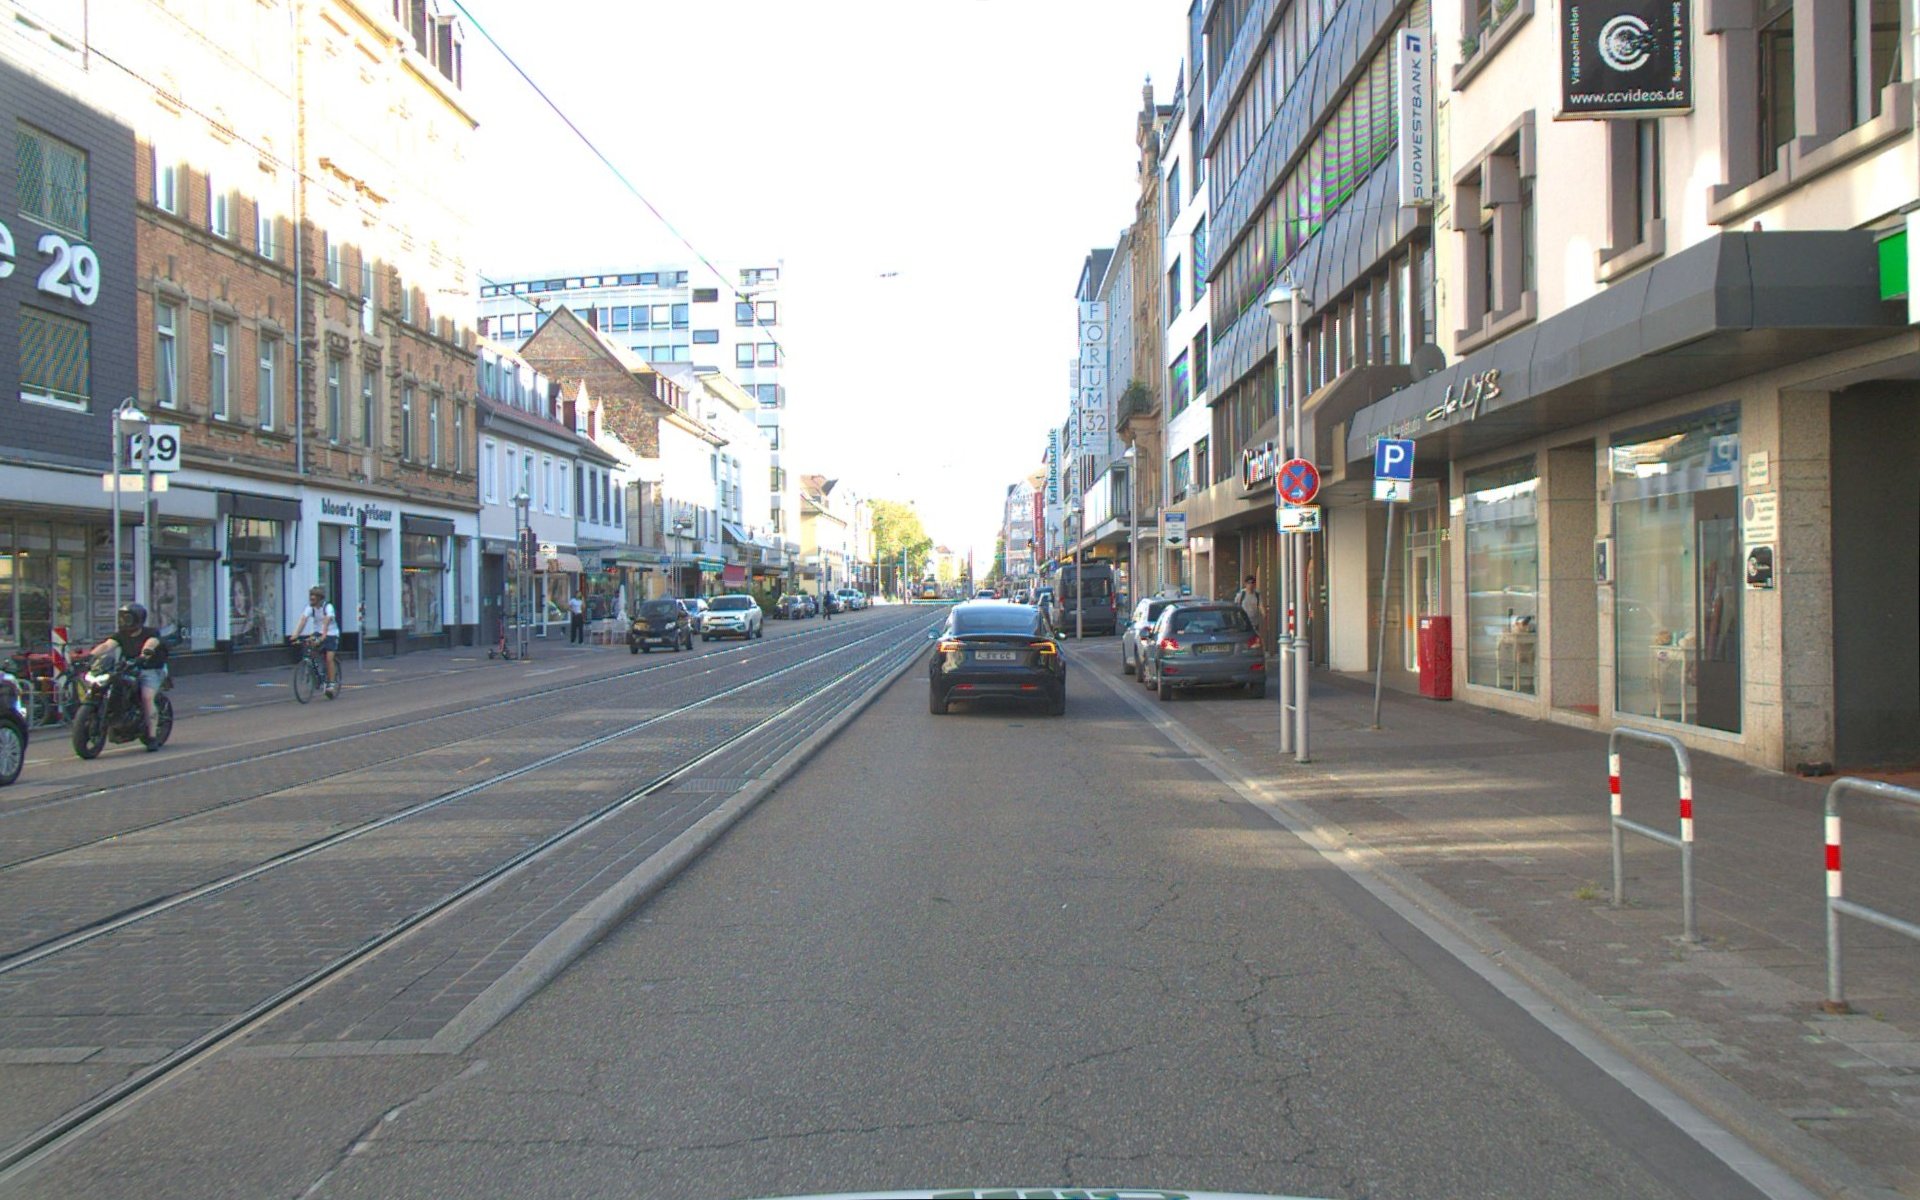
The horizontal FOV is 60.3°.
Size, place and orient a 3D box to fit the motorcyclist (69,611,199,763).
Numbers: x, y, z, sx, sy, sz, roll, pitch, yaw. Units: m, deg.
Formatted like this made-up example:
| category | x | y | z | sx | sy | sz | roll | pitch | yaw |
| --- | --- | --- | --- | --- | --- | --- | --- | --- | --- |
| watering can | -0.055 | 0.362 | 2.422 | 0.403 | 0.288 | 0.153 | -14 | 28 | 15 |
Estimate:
| category | x | y | z | sx | sy | sz | roll | pitch | yaw |
| --- | --- | --- | --- | --- | --- | --- | --- | --- | --- |
| motorcyclist | -9.131 | 0.941 | 18.332 | 0.786 | 1.585 | 1.146 | -2 | 0 | 2 |

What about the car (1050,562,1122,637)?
| category | x | y | z | sx | sy | sz | roll | pitch | yaw |
| --- | --- | --- | --- | --- | --- | --- | --- | --- | --- |
| car | 4.501 | -0.044 | 59.889 | 2.127 | 2.504 | 5.362 | -3 | 1 | 0 |

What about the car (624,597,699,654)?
| category | x | y | z | sx | sy | sz | roll | pitch | yaw |
| --- | --- | --- | --- | --- | --- | --- | --- | --- | --- |
| car | -8.764 | 0.734 | 48.772 | 1.614 | 1.593 | 2.830 | -1 | 0 | 1 |

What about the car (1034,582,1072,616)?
| category | x | y | z | sx | sy | sz | roll | pitch | yaw |
| --- | --- | --- | --- | --- | --- | --- | --- | --- | --- |
| car | 4.487 | -0.073 | 80.312 | 1.715 | 1.525 | 3.754 | -2 | 1 | 1 |

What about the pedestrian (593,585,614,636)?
| category | x | y | z | sx | sy | sz | roll | pitch | yaw |
| --- | --- | --- | --- | --- | --- | --- | --- | --- | --- |
| pedestrian | -13.072 | 0.391 | 60.707 | 0.643 | 1.855 | 0.642 | -1 | 0 | -5 |

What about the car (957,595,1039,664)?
| category | x | y | z | sx | sy | sz | roll | pitch | yaw |
| --- | --- | --- | --- | --- | --- | --- | --- | --- | --- |
| car | 0.853 | 0.627 | 37.426 | 1.725 | 1.443 | 4.355 | -1 | 0 | 1 |

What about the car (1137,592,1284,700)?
| category | x | y | z | sx | sy | sz | roll | pitch | yaw |
| --- | --- | --- | --- | --- | --- | --- | --- | --- | --- |
| car | 3.850 | 0.657 | 26.062 | 1.809 | 1.487 | 4.304 | -2 | 0 | 3 |

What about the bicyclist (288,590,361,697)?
| category | x | y | z | sx | sy | sz | roll | pitch | yaw |
| --- | --- | --- | --- | --- | --- | --- | --- | --- | --- |
| bicyclist | -10.731 | 0.723 | 27.955 | 0.735 | 1.759 | 1.146 | -1 | 0 | 2 |

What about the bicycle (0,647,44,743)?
| category | x | y | z | sx | sy | sz | roll | pitch | yaw |
| --- | --- | --- | --- | --- | --- | --- | --- | --- | --- |
| bicycle | -12.754 | 1.202 | 20.896 | 1.896 | 1.172 | 0.773 | -1 | 0 | -4 |

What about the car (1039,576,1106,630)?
| category | x | y | z | sx | sy | sz | roll | pitch | yaw |
| --- | --- | --- | --- | --- | --- | --- | --- | --- | --- |
| car | 4.478 | 0.086 | 66.434 | 2.115 | 1.959 | 4.616 | -4 | 1 | -2 |

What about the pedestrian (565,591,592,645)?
| category | x | y | z | sx | sy | sz | roll | pitch | yaw |
| --- | --- | --- | --- | --- | --- | --- | --- | --- | --- |
| pedestrian | -12.898 | 0.592 | 55.893 | 0.600 | 1.806 | 0.719 | -1 | 0 | 14 |

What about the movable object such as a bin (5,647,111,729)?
| category | x | y | z | sx | sy | sz | roll | pitch | yaw |
| --- | --- | --- | --- | --- | --- | --- | --- | --- | --- |
| movable object such as a bin | -12.590 | 1.223 | 23.112 | 1.076 | 1.090 | 0.735 | 0 | 0 | 1 |

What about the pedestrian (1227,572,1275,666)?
| category | x | y | z | sx | sy | sz | roll | pitch | yaw |
| --- | --- | --- | --- | --- | --- | --- | --- | --- | --- |
| pedestrian | 5.690 | 0.359 | 32.368 | 0.763 | 1.782 | 1.032 | -1 | 0 | 2 |

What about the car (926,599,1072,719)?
| category | x | y | z | sx | sy | sz | roll | pitch | yaw |
| --- | --- | --- | --- | --- | --- | --- | --- | --- | --- |
| car | 0.551 | 0.744 | 23.107 | 1.831 | 1.452 | 4.365 | -1 | 1 | 1 |

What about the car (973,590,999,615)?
| category | x | y | z | sx | sy | sz | roll | pitch | yaw |
| --- | --- | --- | --- | --- | --- | --- | --- | --- | --- |
| car | 2.130 | 0.161 | 132.829 | 2.042 | 1.903 | 3.754 | -1 | 1 | 1 |

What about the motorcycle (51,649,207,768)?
| category | x | y | z | sx | sy | sz | roll | pitch | yaw |
| --- | --- | --- | --- | --- | --- | --- | --- | --- | --- |
| motorcycle | -9.074 | 1.155 | 18.155 | 0.558 | 1.139 | 2.117 | -2 | 0 | 1 |

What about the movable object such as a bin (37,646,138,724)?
| category | x | y | z | sx | sy | sz | roll | pitch | yaw |
| --- | --- | --- | --- | --- | --- | --- | --- | --- | --- |
| movable object such as a bin | -12.564 | 1.218 | 23.838 | 1.076 | 1.082 | 0.699 | 0 | 0 | 1 |

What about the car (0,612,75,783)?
| category | x | y | z | sx | sy | sz | roll | pitch | yaw |
| --- | --- | --- | --- | --- | --- | --- | --- | --- | --- |
| car | -9.268 | 0.924 | 13.521 | 1.678 | 1.471 | 4.140 | -3 | 1 | 2 |

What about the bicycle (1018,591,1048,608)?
| category | x | y | z | sx | sy | sz | roll | pitch | yaw |
| --- | --- | --- | --- | --- | --- | --- | --- | --- | --- |
| bicycle | 5.244 | -0.039 | 118.525 | 2.115 | 1.116 | 0.686 | -1 | 0 | -2 |

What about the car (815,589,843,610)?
| category | x | y | z | sx | sy | sz | roll | pitch | yaw |
| --- | --- | --- | --- | --- | --- | --- | --- | --- | --- |
| car | -10.465 | -0.060 | 131.989 | 1.682 | 1.599 | 3.851 | -1 | 0 | 3 |

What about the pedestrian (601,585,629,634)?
| category | x | y | z | sx | sy | sz | roll | pitch | yaw |
| --- | --- | --- | --- | --- | --- | --- | --- | --- | --- |
| pedestrian | -12.823 | 0.360 | 61.441 | 0.868 | 1.806 | 0.688 | -1 | 0 | -1 |

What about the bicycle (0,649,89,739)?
| category | x | y | z | sx | sy | sz | roll | pitch | yaw |
| --- | --- | --- | --- | --- | --- | --- | --- | --- | --- |
| bicycle | -12.635 | 1.240 | 21.757 | 1.896 | 1.130 | 0.773 | -1 | 0 | -4 |

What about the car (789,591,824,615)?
| category | x | y | z | sx | sy | sz | roll | pitch | yaw |
| --- | --- | --- | --- | --- | --- | --- | --- | --- | --- |
| car | -10.639 | 0.201 | 114.754 | 1.732 | 1.534 | 3.863 | -1 | 0 | 4 |

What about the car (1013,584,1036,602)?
| category | x | y | z | sx | sy | sz | roll | pitch | yaw |
| --- | --- | --- | --- | --- | --- | --- | --- | --- | --- |
| car | 5.704 | -0.632 | 147.345 | 1.952 | 1.570 | 4.000 | -1 | 0 | 1 |

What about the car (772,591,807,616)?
| category | x | y | z | sx | sy | sz | roll | pitch | yaw |
| --- | --- | --- | --- | --- | --- | --- | --- | --- | --- |
| car | -11.141 | 0.202 | 108.437 | 1.733 | 1.534 | 3.865 | -1 | 0 | 2 |

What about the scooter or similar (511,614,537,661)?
| category | x | y | z | sx | sy | sz | roll | pitch | yaw |
| --- | --- | --- | --- | --- | --- | --- | --- | --- | --- |
| scooter or similar | -11.770 | 0.993 | 44.671 | 0.356 | 1.223 | 1.476 | 1 | 0 | -2 |

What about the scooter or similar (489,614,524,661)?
| category | x | y | z | sx | sy | sz | roll | pitch | yaw |
| --- | --- | --- | --- | --- | --- | --- | --- | --- | --- |
| scooter or similar | -12.247 | 0.992 | 44.673 | 0.567 | 1.223 | 1.476 | 1 | 0 | -2 |

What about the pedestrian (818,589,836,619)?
| category | x | y | z | sx | sy | sz | roll | pitch | yaw |
| --- | --- | --- | --- | --- | --- | --- | --- | --- | --- |
| pedestrian | -8.337 | 0.252 | 103.373 | 0.757 | 1.881 | 0.827 | -1 | 0 | 30 |

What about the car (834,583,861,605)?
| category | x | y | z | sx | sy | sz | roll | pitch | yaw |
| --- | --- | --- | --- | --- | --- | --- | --- | --- | --- |
| car | -10.283 | -0.556 | 151.319 | 1.967 | 1.995 | 4.725 | -1 | 0 | 1 |

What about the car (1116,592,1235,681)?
| category | x | y | z | sx | sy | sz | roll | pitch | yaw |
| --- | --- | --- | --- | --- | --- | --- | --- | --- | --- |
| car | 3.967 | 0.622 | 31.068 | 1.709 | 1.487 | 4.296 | -2 | 0 | 1 |

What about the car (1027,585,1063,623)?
| category | x | y | z | sx | sy | sz | roll | pitch | yaw |
| --- | --- | --- | --- | --- | --- | --- | --- | --- | --- |
| car | 4.406 | 0.168 | 86.456 | 1.783 | 1.903 | 3.754 | -1 | 1 | 1 |

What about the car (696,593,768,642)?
| category | x | y | z | sx | sy | sz | roll | pitch | yaw |
| --- | --- | --- | --- | --- | --- | --- | --- | --- | --- |
| car | -8.228 | 0.602 | 60.003 | 1.851 | 1.621 | 4.264 | -3 | 0 | 1 |

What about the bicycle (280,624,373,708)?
| category | x | y | z | sx | sy | sz | roll | pitch | yaw |
| --- | --- | --- | --- | --- | --- | --- | --- | --- | --- |
| bicycle | -10.727 | 1.100 | 28.082 | 0.735 | 1.316 | 2.026 | -1 | 0 | 1 |

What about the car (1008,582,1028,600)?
| category | x | y | z | sx | sy | sz | roll | pitch | yaw |
| --- | --- | --- | --- | --- | --- | --- | --- | --- | --- |
| car | 6.167 | -0.934 | 175.844 | 1.952 | 1.784 | 4.000 | -1 | 0 | 1 |

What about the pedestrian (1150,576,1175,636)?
| category | x | y | z | sx | sy | sz | roll | pitch | yaw |
| --- | --- | --- | --- | --- | --- | --- | --- | --- | --- |
| pedestrian | 6.018 | 0.176 | 49.108 | 0.545 | 1.744 | 0.954 | -3 | 0 | 0 |

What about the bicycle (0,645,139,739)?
| category | x | y | z | sx | sy | sz | roll | pitch | yaw |
| --- | --- | --- | --- | --- | --- | --- | --- | --- | --- |
| bicycle | -12.280 | 1.249 | 22.510 | 1.896 | 1.211 | 0.551 | -1 | 0 | -3 |
